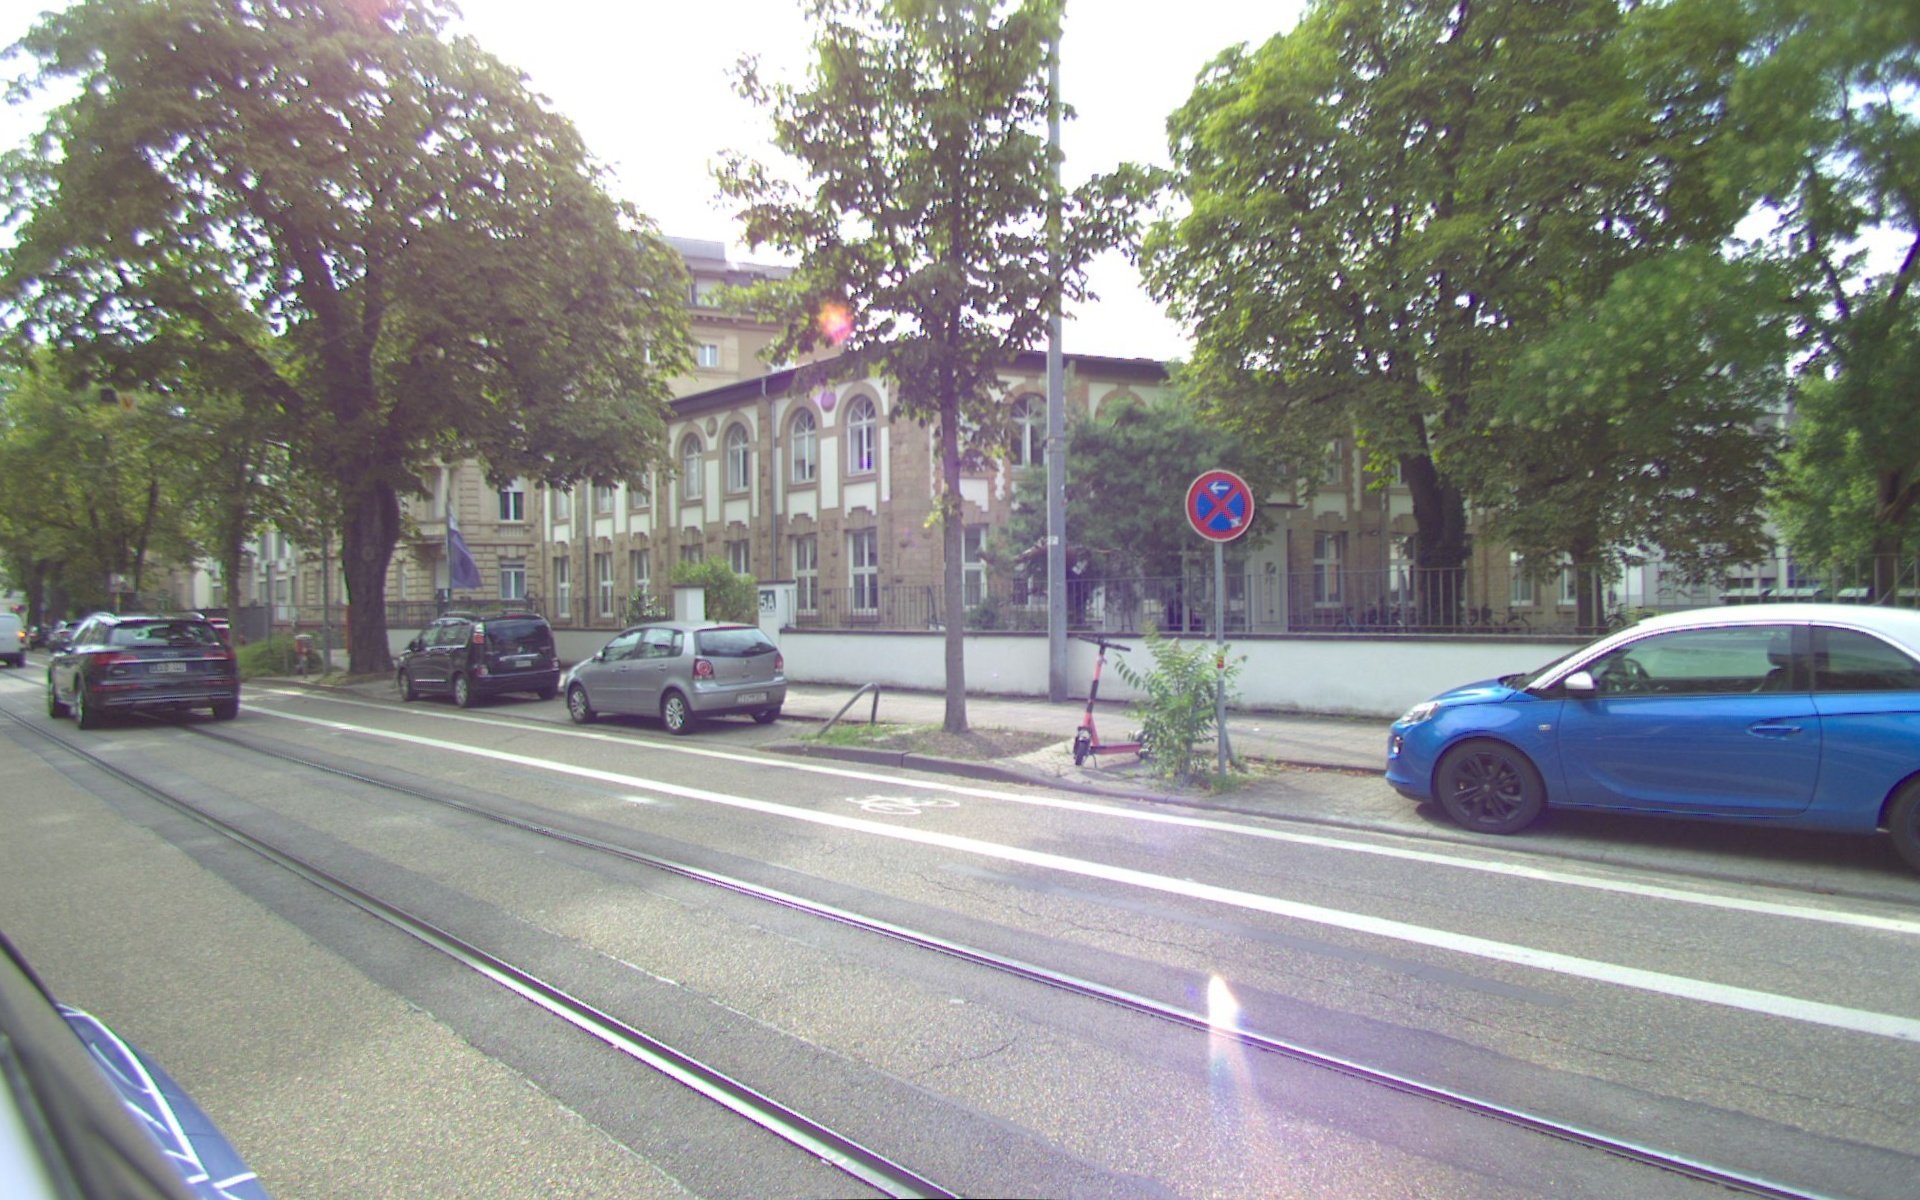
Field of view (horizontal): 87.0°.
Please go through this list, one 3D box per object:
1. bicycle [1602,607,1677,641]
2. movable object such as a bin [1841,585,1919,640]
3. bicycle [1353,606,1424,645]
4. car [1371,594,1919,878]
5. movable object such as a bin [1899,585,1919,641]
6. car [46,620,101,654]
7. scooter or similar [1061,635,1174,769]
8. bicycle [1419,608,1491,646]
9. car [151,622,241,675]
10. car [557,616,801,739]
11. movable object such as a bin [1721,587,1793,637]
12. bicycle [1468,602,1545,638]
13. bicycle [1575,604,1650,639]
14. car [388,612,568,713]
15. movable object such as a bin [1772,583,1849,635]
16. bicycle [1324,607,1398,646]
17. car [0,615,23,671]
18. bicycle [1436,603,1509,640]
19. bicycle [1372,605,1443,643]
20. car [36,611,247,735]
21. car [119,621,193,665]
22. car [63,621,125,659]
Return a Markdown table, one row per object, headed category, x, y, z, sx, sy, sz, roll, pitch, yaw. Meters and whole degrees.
| category | x | y | z | sx | sy | sz | roll | pitch | yaw |
| --- | --- | --- | --- | --- | --- | --- | --- | --- | --- |
| bicycle | 21.844 | 0.771 | 32.597 | 0.584 | 1.051 | 1.984 | -1 | 0 | -23 |
| movable object such as a bin | 25.012 | 0.340 | 27.469 | 1.103 | 1.441 | 1.288 | 0 | 0 | -21 |
| bicycle | 12.186 | 0.702 | 28.840 | 0.584 | 1.051 | 1.984 | -1 | 0 | -23 |
| car | 4.782 | 0.727 | 6.534 | 3.600 | 1.476 | 1.611 | -2 | -1 | 41 |
| movable object such as a bin | 25.390 | 0.335 | 26.149 | 1.103 | 1.441 | 1.288 | 0 | 0 | -21 |
| car | -45.418 | 1.893 | 51.812 | 3.904 | 1.646 | 1.637 | -2 | -1 | 41 |
| scooter or similar | 1.481 | 0.931 | 9.500 | 0.987 | 1.176 | 0.370 | -1 | -1 | -24 |
| bicycle | 14.482 | 0.778 | 29.665 | 0.584 | 1.051 | 1.984 | -1 | 0 | -23 |
| car | -25.673 | 1.581 | 33.968 | 3.904 | 1.646 | 1.637 | -2 | -1 | 41 |
| car | -4.014 | 0.992 | 14.203 | 3.572 | 1.476 | 1.611 | -2 | -1 | 41 |
| movable object such as a bin | 23.790 | 0.355 | 30.226 | 1.103 | 1.441 | 1.288 | 0 | 0 | -21 |
| bicycle | 16.695 | 0.603 | 30.969 | 1.978 | 1.051 | 0.586 | -1 | 0 | 44 |
| bicycle | 20.624 | 0.661 | 32.046 | 0.584 | 1.051 | 1.984 | -1 | 0 | -23 |
| car | -8.918 | 1.076 | 18.601 | 3.723 | 1.646 | 1.637 | -2 | -1 | 41 |
| movable object such as a bin | 24.302 | 0.258 | 28.930 | 1.103 | 1.441 | 1.288 | 0 | 0 | -21 |
| bicycle | 11.309 | 0.748 | 28.603 | 0.584 | 1.051 | 1.984 | -1 | 0 | -30 |
| car | -33.568 | 1.483 | 34.603 | 4.676 | 1.837 | 1.776 | -2 | -1 | 41 |
| bicycle | 15.175 | 0.622 | 30.004 | 0.584 | 1.051 | 1.984 | -1 | 0 | -23 |
| bicycle | 12.882 | 0.686 | 29.173 | 0.584 | 1.051 | 1.984 | -1 | 0 | -23 |
| car | -12.693 | 1.024 | 15.601 | 4.332 | 1.624 | 1.828 | -2 | -1 | 41 |
| car | -31.922 | 1.676 | 40.139 | 3.904 | 1.613 | 1.637 | -2 | -1 | 41 |
| car | -40.069 | 1.824 | 46.819 | 3.904 | 1.646 | 1.637 | -2 | -1 | 41 |
